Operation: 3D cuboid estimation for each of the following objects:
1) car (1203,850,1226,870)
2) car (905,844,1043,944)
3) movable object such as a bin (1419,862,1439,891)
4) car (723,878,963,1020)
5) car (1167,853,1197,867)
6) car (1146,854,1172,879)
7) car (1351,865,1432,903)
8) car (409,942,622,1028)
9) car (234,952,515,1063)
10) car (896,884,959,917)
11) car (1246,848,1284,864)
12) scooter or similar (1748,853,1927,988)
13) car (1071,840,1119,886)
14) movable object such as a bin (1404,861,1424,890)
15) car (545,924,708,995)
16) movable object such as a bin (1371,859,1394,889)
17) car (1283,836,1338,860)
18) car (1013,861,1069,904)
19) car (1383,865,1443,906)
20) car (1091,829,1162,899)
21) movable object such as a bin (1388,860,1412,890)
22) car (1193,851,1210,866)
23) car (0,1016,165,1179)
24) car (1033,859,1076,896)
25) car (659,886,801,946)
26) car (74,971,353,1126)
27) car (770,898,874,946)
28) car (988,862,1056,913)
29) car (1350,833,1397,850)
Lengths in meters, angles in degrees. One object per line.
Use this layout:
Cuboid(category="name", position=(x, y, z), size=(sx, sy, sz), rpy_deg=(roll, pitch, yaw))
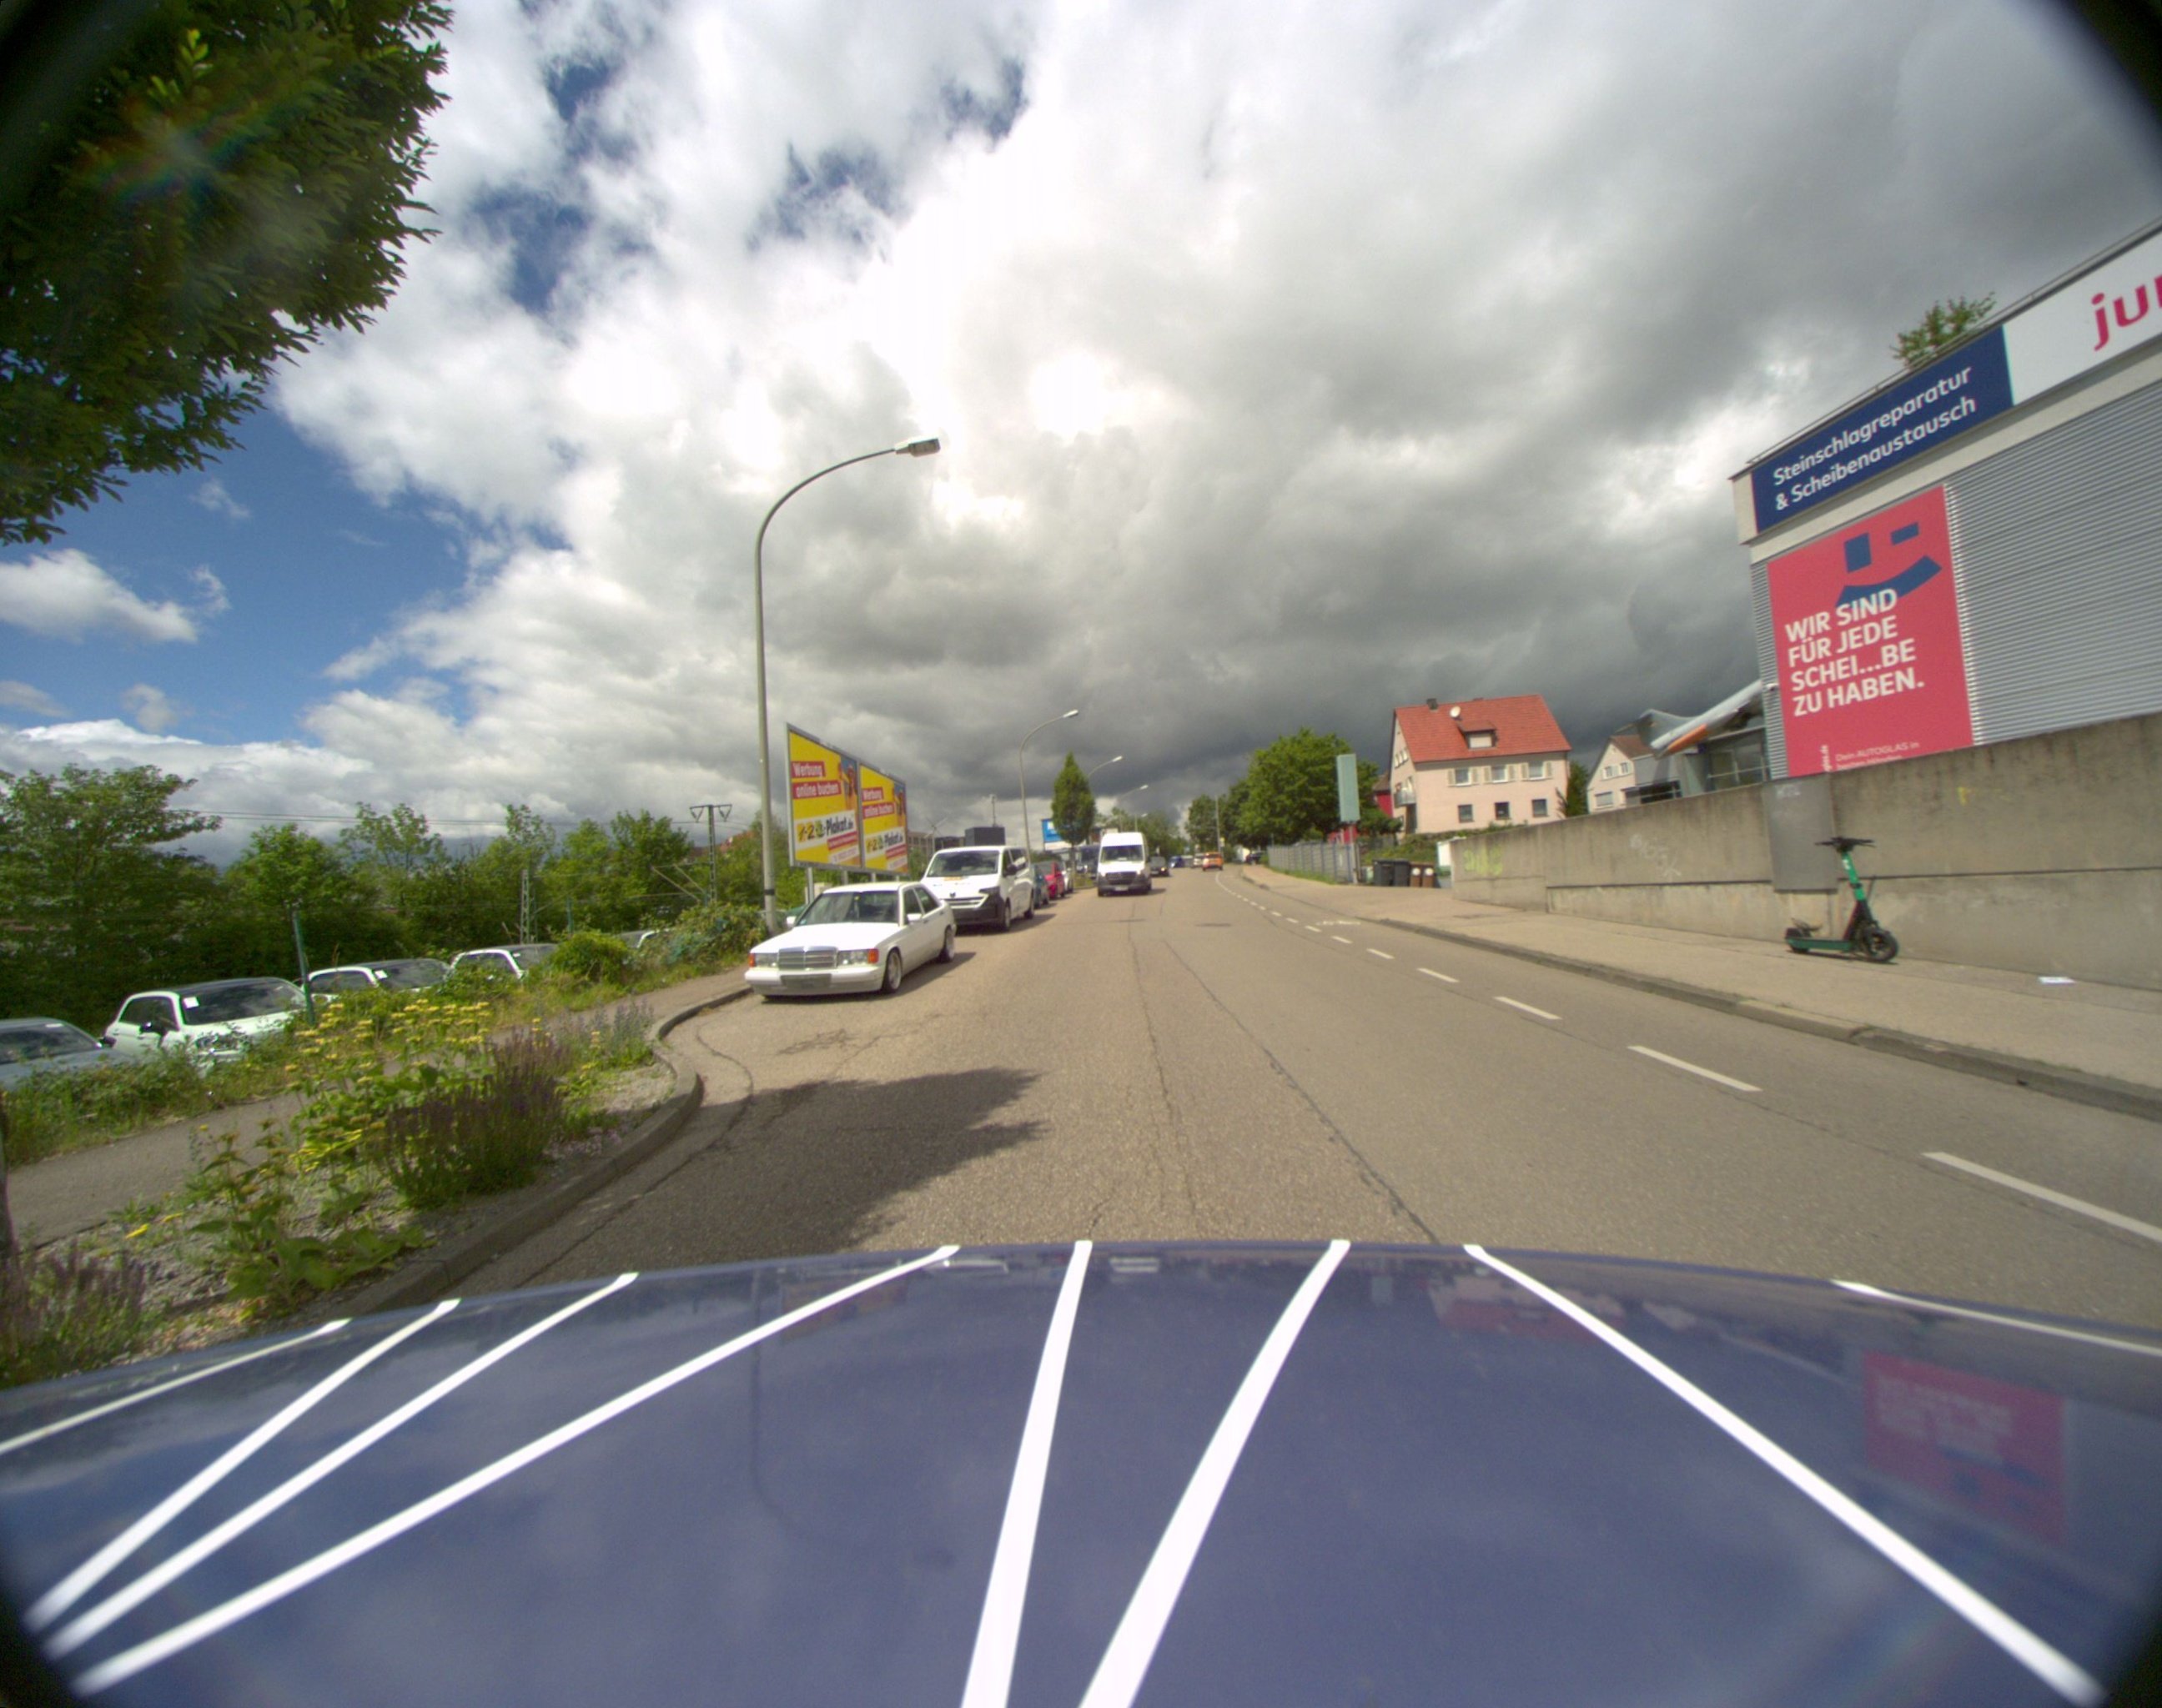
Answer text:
Cuboid(category="car", position=(11.259, 0.487, 63.803), size=(1.603, 1.482, 3.685), rpy_deg=(-3, 0, 14))
Cuboid(category="car", position=(-2.385, 0.835, 18.594), size=(1.979, 1.992, 5.549), rpy_deg=(-3, 0, 6))
Cuboid(category="movable object such as a bin", position=(12.704, 0.805, 27.723), size=(0.515, 1.039, 0.517), rpy_deg=(1, 1, 5))
Cuboid(category="car", position=(-3.000, 1.142, 10.611), size=(1.641, 1.379, 4.206), rpy_deg=(-3, 0, 5))
Cuboid(category="car", position=(16.514, 0.989, 124.206), size=(5.140, 1.957, 1.957), rpy_deg=(-3, 0, -43))
Cuboid(category="car", position=(5.309, 0.825, 52.132), size=(1.584, 1.497, 3.958), rpy_deg=(-3, 0, 4))
Cuboid(category="car", position=(18.294, 1.766, 44.926), size=(3.995, 2.002, 1.852), rpy_deg=(-3, 0, 8))
Cuboid(category="car", position=(-12.058, 2.732, 16.227), size=(3.991, 1.482, 1.648), rpy_deg=(-3, 0, 20))
Cuboid(category="car", position=(-12.848, 2.740, 13.892), size=(3.993, 1.589, 1.795), rpy_deg=(-3, 0, 14))
Cuboid(category="car", position=(-8.016, 2.407, 40.157), size=(1.819, 1.343, 4.558), rpy_deg=(-3, 0, 8))
Cuboid(category="car", position=(19.854, 0.166, 81.906), size=(3.853, 1.497, 1.587), rpy_deg=(-3, 0, 12))
Cuboid(category="scooter or similar", position=(7.835, 0.643, 7.946), size=(0.558, 1.268, 1.306), rpy_deg=(-3, 0, 3))
Cuboid(category="car", position=(0.968, 0.503, 47.002), size=(2.058, 2.579, 5.738), rpy_deg=(-3, 0, 9))
Cuboid(category="movable object such as a bin", position=(12.203, 0.793, 27.848), size=(0.503, 1.054, 0.498), rpy_deg=(1, 1, 5))
Cuboid(category="car", position=(-11.389, 2.607, 19.369), size=(1.575, 1.252, 3.713), rpy_deg=(-3, 0, 7))
Cuboid(category="movable object such as a bin", position=(11.037, 0.742, 27.841), size=(0.664, 1.074, 0.517), rpy_deg=(1, 1, 5))
Cuboid(category="car", position=(18.673, -0.472, 61.858), size=(3.953, 1.766, 1.524), rpy_deg=(-3, 0, 5))
Cuboid(category="car", position=(-1.528, 1.088, 30.257), size=(1.596, 1.473, 3.502), rpy_deg=(-3, 0, 6))
Cuboid(category="car", position=(13.591, 1.248, 31.292), size=(1.433, 1.451, 3.364), rpy_deg=(-3, 0, 10))
Cuboid(category="car", position=(2.067, 0.353, 32.299), size=(2.080, 2.575, 6.067), rpy_deg=(-3, 0, 11))
Cuboid(category="movable object such as a bin", position=(11.640, 0.760, 27.752), size=(0.664, 1.074, 0.517), rpy_deg=(1, 1, 5))
Cuboid(category="car", position=(13.112, 0.448, 82.782), size=(1.646, 1.523, 4.224), rpy_deg=(-3, 0, 8))
Cuboid(category="car", position=(-13.350, 2.879, 9.168), size=(3.991, 1.373, 1.667), rpy_deg=(-3, 0, 21))
Cuboid(category="car", position=(-1.170, 1.056, 34.806), size=(1.596, 1.514, 2.859), rpy_deg=(-3, 0, 5))
Cuboid(category="car", position=(-10.826, 1.854, 23.866), size=(1.819, 1.433, 4.558), rpy_deg=(-3, 0, 8))
Cuboid(category="car", position=(-12.933, 2.736, 11.313), size=(3.990, 1.630, 1.643), rpy_deg=(-3, 0, 25))
Cuboid(category="car", position=(-9.766, 2.526, 29.072), size=(1.819, 1.343, 4.558), rpy_deg=(-3, 0, 8))
Cuboid(category="car", position=(-1.919, 1.075, 25.772), size=(1.596, 1.442, 3.981), rpy_deg=(-3, 0, 5))
Cuboid(category="car", position=(28.575, -1.208, 74.343), size=(4.014, 1.497, 1.587), rpy_deg=(-3, 0, 12))
